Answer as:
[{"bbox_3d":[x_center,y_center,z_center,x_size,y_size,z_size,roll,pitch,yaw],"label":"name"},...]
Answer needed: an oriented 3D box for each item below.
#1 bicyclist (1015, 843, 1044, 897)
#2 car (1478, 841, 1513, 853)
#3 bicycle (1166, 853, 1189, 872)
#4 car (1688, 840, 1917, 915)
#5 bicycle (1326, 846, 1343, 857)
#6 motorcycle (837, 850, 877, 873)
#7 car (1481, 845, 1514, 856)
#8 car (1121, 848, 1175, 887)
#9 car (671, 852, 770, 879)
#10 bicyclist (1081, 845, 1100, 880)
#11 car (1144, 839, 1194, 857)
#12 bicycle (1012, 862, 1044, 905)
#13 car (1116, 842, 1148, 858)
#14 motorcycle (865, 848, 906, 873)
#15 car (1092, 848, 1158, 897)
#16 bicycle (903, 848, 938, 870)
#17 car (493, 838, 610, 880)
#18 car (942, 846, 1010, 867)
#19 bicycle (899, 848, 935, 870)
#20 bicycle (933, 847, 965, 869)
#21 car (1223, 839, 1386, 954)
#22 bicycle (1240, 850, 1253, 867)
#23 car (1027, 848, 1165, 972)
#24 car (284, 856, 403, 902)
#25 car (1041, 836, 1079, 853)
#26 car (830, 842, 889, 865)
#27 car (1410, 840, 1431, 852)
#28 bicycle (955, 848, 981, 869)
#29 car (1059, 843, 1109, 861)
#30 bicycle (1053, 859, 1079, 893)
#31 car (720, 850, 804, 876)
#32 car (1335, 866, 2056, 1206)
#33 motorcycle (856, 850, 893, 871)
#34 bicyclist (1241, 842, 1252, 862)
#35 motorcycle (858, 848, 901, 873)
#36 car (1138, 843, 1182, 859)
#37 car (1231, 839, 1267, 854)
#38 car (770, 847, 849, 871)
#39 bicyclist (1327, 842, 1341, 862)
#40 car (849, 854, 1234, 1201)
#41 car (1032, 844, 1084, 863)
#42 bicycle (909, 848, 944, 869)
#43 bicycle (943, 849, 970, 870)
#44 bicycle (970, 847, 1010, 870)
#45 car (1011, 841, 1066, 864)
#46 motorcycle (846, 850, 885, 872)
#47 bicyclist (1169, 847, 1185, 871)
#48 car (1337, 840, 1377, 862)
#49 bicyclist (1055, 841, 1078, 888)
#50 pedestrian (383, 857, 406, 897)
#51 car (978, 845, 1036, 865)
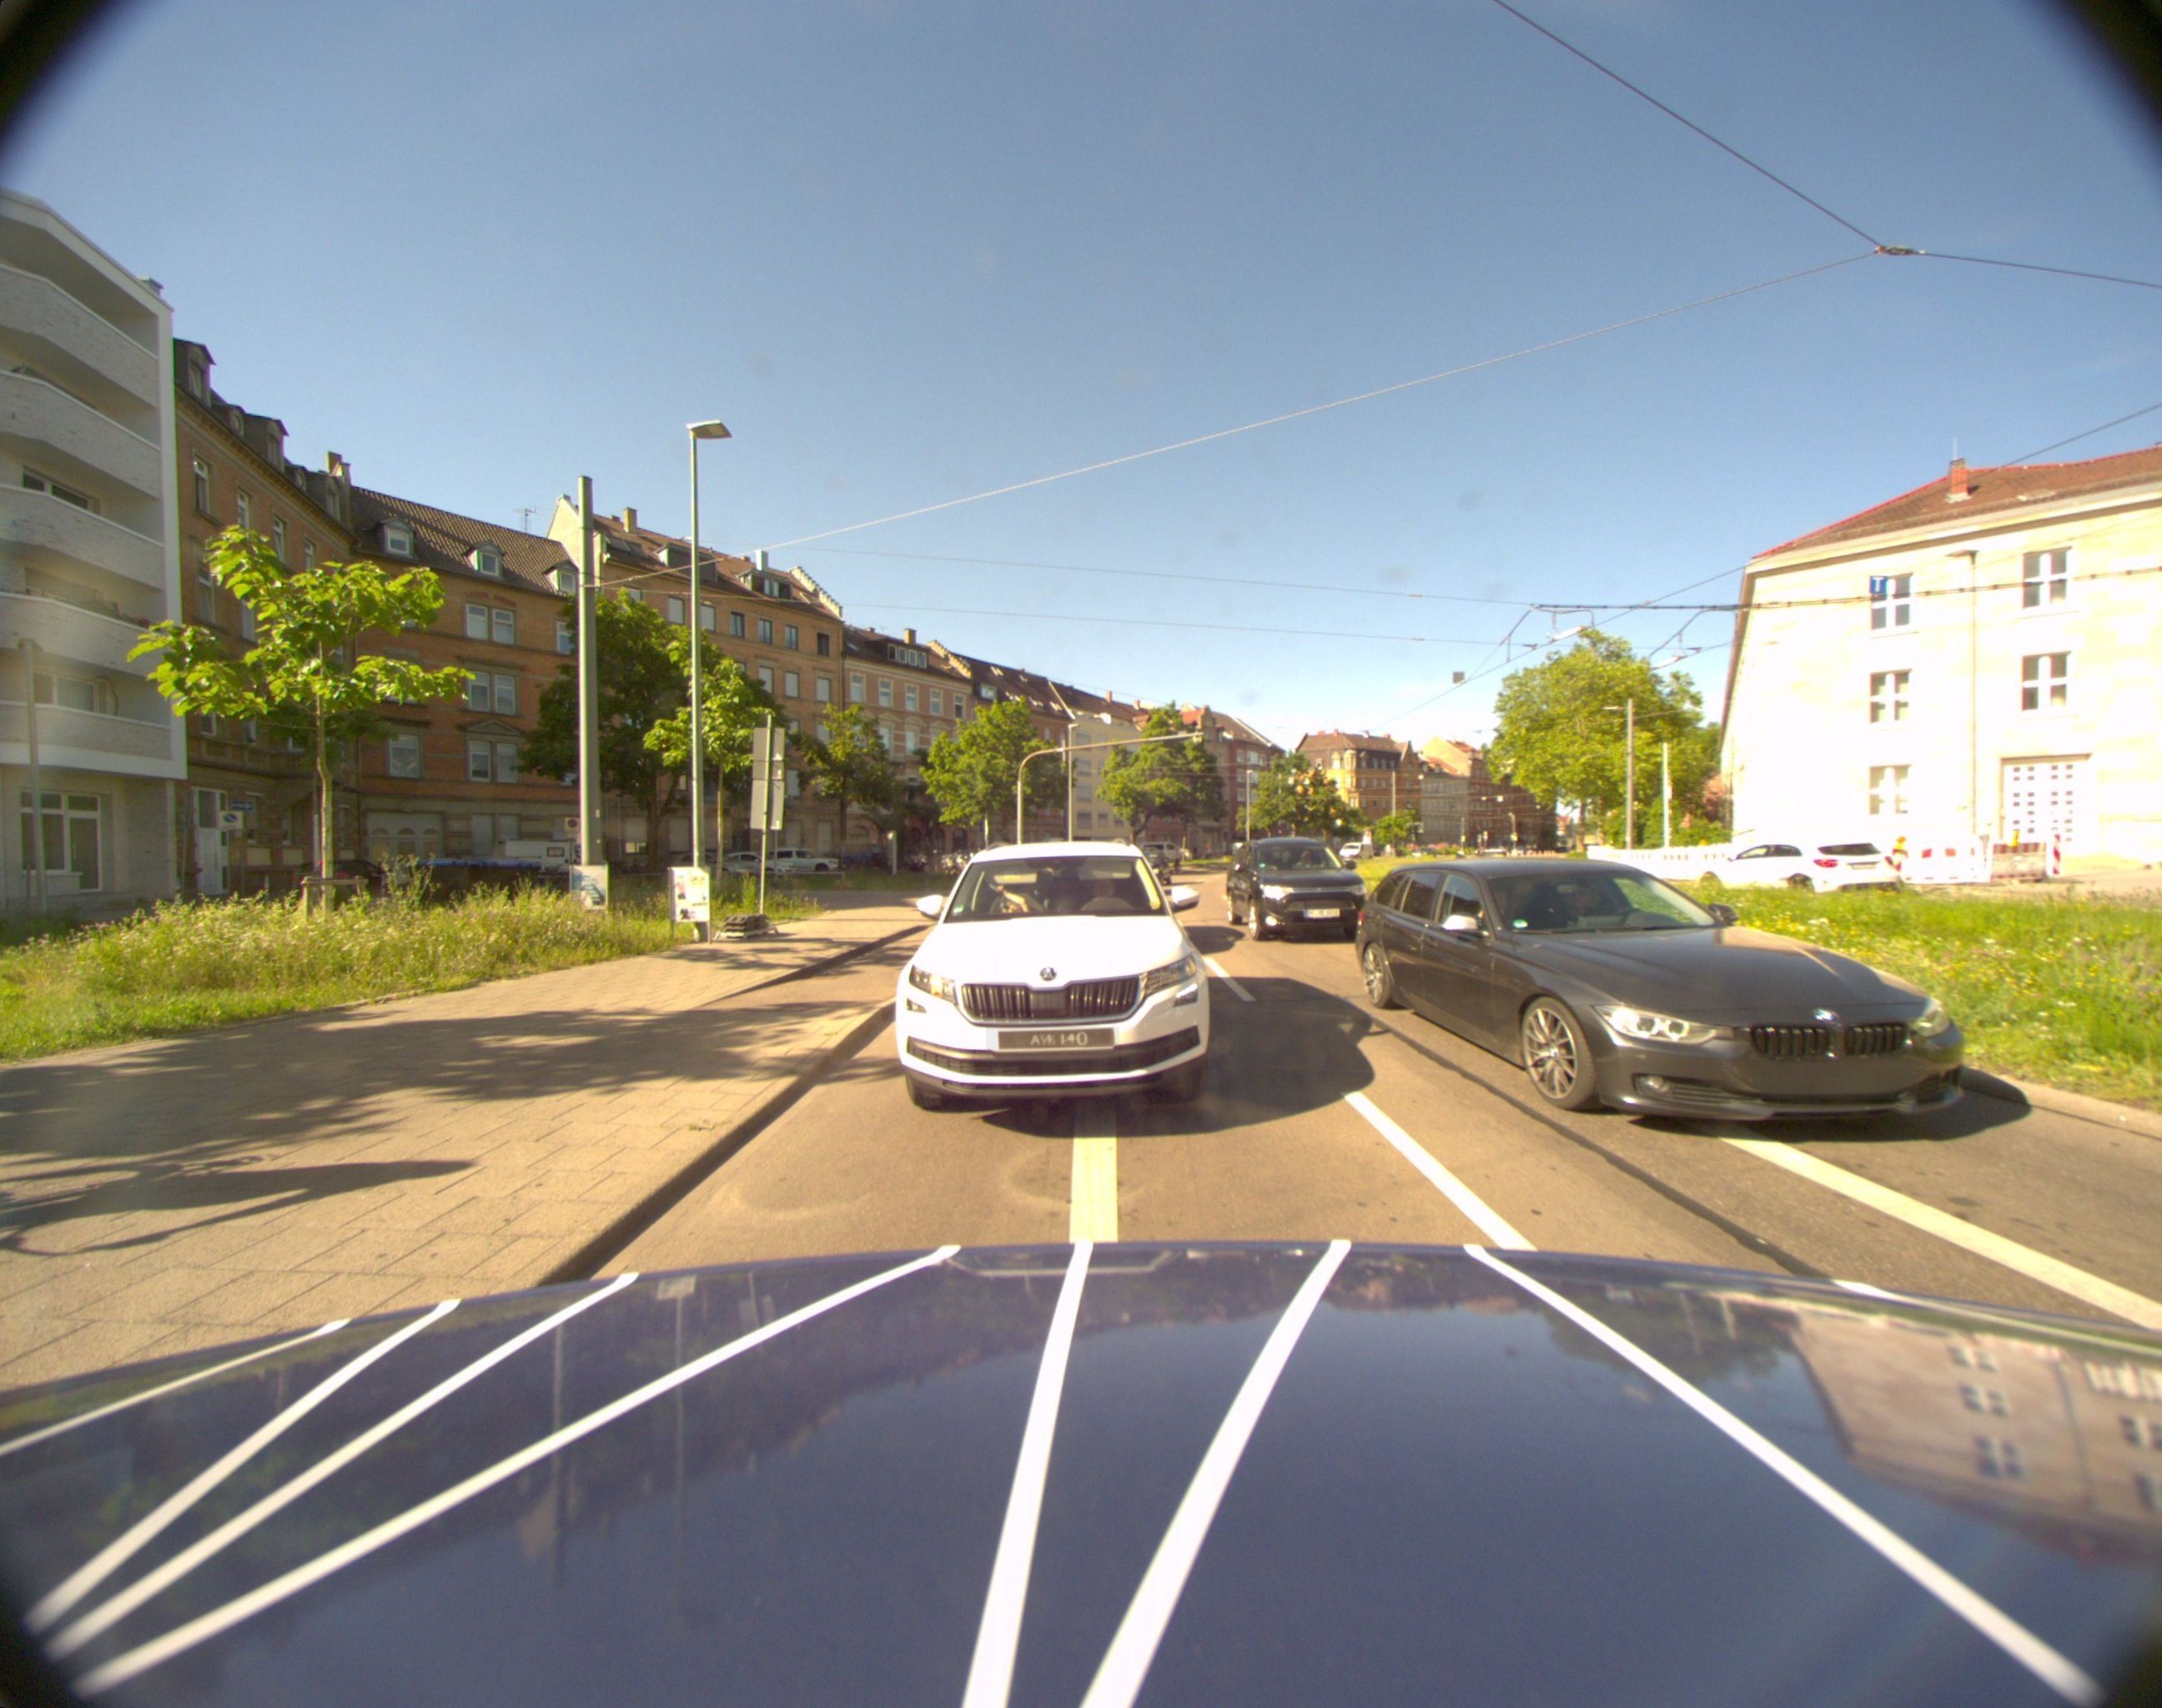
[{"bbox_3d":[-1.669,0.506,24.854,0.715,1.715,1.094,1,1,8],"label":"bicyclist"},{"bbox_3d":[58.703,-1.021,107.707,1.770,1.647,4.059,-1,1,-34],"label":"car"},{"bbox_3d":[6.428,0.573,50.509,0.667,1.190,2.158,0,1,31],"label":"bicycle"},{"bbox_3d":[17.740,0.520,19.005,1.824,1.636,4.182,-1,0,2],"label":"car"},{"bbox_3d":[26.192,-0.231,78.576,0.762,1.138,2.287,0,1,44],"label":"bicycle"},{"bbox_3d":[-13.289,0.437,45.021,2.314,1.270,0.664,-2,1,24],"label":"motorcycle"},{"bbox_3d":[61.472,-0.523,112.217,4.058,1.647,1.770,1,2,34],"label":"car"},{"bbox_3d":[3.123,0.556,34.867,1.837,1.637,4.152,0,1,14],"label":"car"},{"bbox_3d":[-17.500,0.532,36.908,4.156,1.244,1.683,0,1,13],"label":"car"},{"bbox_3d":[0.442,0.387,35.088,0.630,1.619,0.972,-1,1,13],"label":"bicyclist"},{"bbox_3d":[8.198,-0.590,70.610,4.578,1.658,1.600,0,1,7],"label":"car"},{"bbox_3d":[-1.709,0.939,24.748,0.715,1.319,1.750,1,0,7],"label":"bicycle"},{"bbox_3d":[5.469,-0.424,80.729,1.547,1.578,3.607,1,2,41],"label":"car"},{"bbox_3d":[-11.149,0.356,43.295,2.200,1.315,0.664,-2,1,18],"label":"motorcycle"},{"bbox_3d":[1.643,0.598,26.958,1.838,1.543,4.151,0,1,10],"label":"car"},{"bbox_3d":[-9.707,0.293,46.010,2.198,1.260,0.664,-2,1,32],"label":"bicycle"},{"bbox_3d":[-27.118,0.215,39.011,2.047,2.026,4.510,1,2,41],"label":"car"},{"bbox_3d":[-7.043,0.174,51.297,4.322,1.398,1.682,0,1,3],"label":"car"},{"bbox_3d":[-9.743,0.305,45.072,2.198,1.260,0.664,-2,1,30],"label":"bicycle"},{"bbox_3d":[-7.729,0.239,44.519,0.664,1.260,2.198,-3,1,-45],"label":"bicycle"},{"bbox_3d":[3.697,0.626,13.399,1.841,1.636,4.399,-2,0,5],"label":"car"},{"bbox_3d":[13.903,0.348,63.687,0.735,1.353,2.078,0,1,21],"label":"bicycle"},{"bbox_3d":[0.235,0.762,12.609,1.842,1.636,4.397,-2,0,1],"label":"car"},{"bbox_3d":[-26.168,0.827,27.149,1.835,1.419,4.378,-1,1,-27],"label":"car"},{"bbox_3d":[-1.939,-0.944,71.666,1.547,1.578,3.607,1,2,41],"label":"car"},{"bbox_3d":[-15.610,-0.058,53.672,1.547,1.578,3.709,1,2,41],"label":"car"},{"bbox_3d":[42.562,-0.978,95.256,1.836,1.464,4.722,1,1,31],"label":"car"},{"bbox_3d":[-7.123,0.307,47.755,0.664,1.260,2.199,-3,1,-36],"label":"bicycle"},{"bbox_3d":[0.260,-0.161,61.166,3.823,1.398,1.600,0,1,6],"label":"car"},{"bbox_3d":[-0.601,0.866,30.913,0.758,1.293,2.155,-1,1,6],"label":"bicycle"},{"bbox_3d":[-16.407,0.439,39.107,3.696,1.244,1.683,0,1,13],"label":"car"},{"bbox_3d":[3.478,0.850,5.595,1.741,1.359,4.426,-2,0,1],"label":"car"},{"bbox_3d":[-12.603,0.400,46.406,2.199,1.260,0.664,-2,1,24],"label":"motorcycle"},{"bbox_3d":[13.861,-0.182,63.578,0.734,1.685,0.973,0,1,22],"label":"bicyclist"},{"bbox_3d":[-11.179,0.373,42.208,2.200,1.322,0.663,-2,1,13],"label":"motorcycle"},{"bbox_3d":[7.126,-0.250,68.180,3.823,1.372,1.600,0,1,9],"label":"car"},{"bbox_3d":[18.694,-0.821,84.660,3.823,1.581,1.600,0,1,6],"label":"car"},{"bbox_3d":[-14.681,0.255,41.196,3.700,1.244,1.540,0,1,2],"label":"car"},{"bbox_3d":[26.180,-0.203,78.596,0.847,2.002,1.199,0,1,45],"label":"bicyclist"},{"bbox_3d":[-0.228,0.854,5.951,1.842,1.636,4.397,-2,0,-1],"label":"car"},{"bbox_3d":[-1.776,-0.055,58.713,3.823,1.398,1.600,0,1,6],"label":"car"},{"bbox_3d":[-9.510,0.278,46.713,2.198,1.260,0.664,-2,1,32],"label":"bicycle"},{"bbox_3d":[-7.686,0.340,46.761,0.664,1.260,2.199,-3,1,-36],"label":"bicycle"},{"bbox_3d":[-5.476,0.266,45.740,2.207,1.260,0.662,-3,1,-25],"label":"bicycle"},{"bbox_3d":[-3.108,-0.138,56.105,3.825,1.698,1.682,0,1,3],"label":"car"},{"bbox_3d":[-12.940,0.414,45.626,2.314,1.276,0.664,-2,1,24],"label":"motorcycle"},{"bbox_3d":[6.400,0.331,50.474,0.667,1.619,0.973,0,1,32],"label":"bicyclist"},{"bbox_3d":[27.473,-0.317,75.543,1.977,2.074,4.723,1,2,43],"label":"car"},{"bbox_3d":[-0.574,0.424,30.924,0.809,1.855,0.749,-1,2,6],"label":"bicyclist"},{"bbox_3d":[-25.076,0.838,27.766,0.509,1.448,0.481,-3,2,-38],"label":"pedestrian"},{"bbox_3d":[-5.227,0.086,53.966,3.822,1.398,1.683,0,1,9],"label":"car"}]
